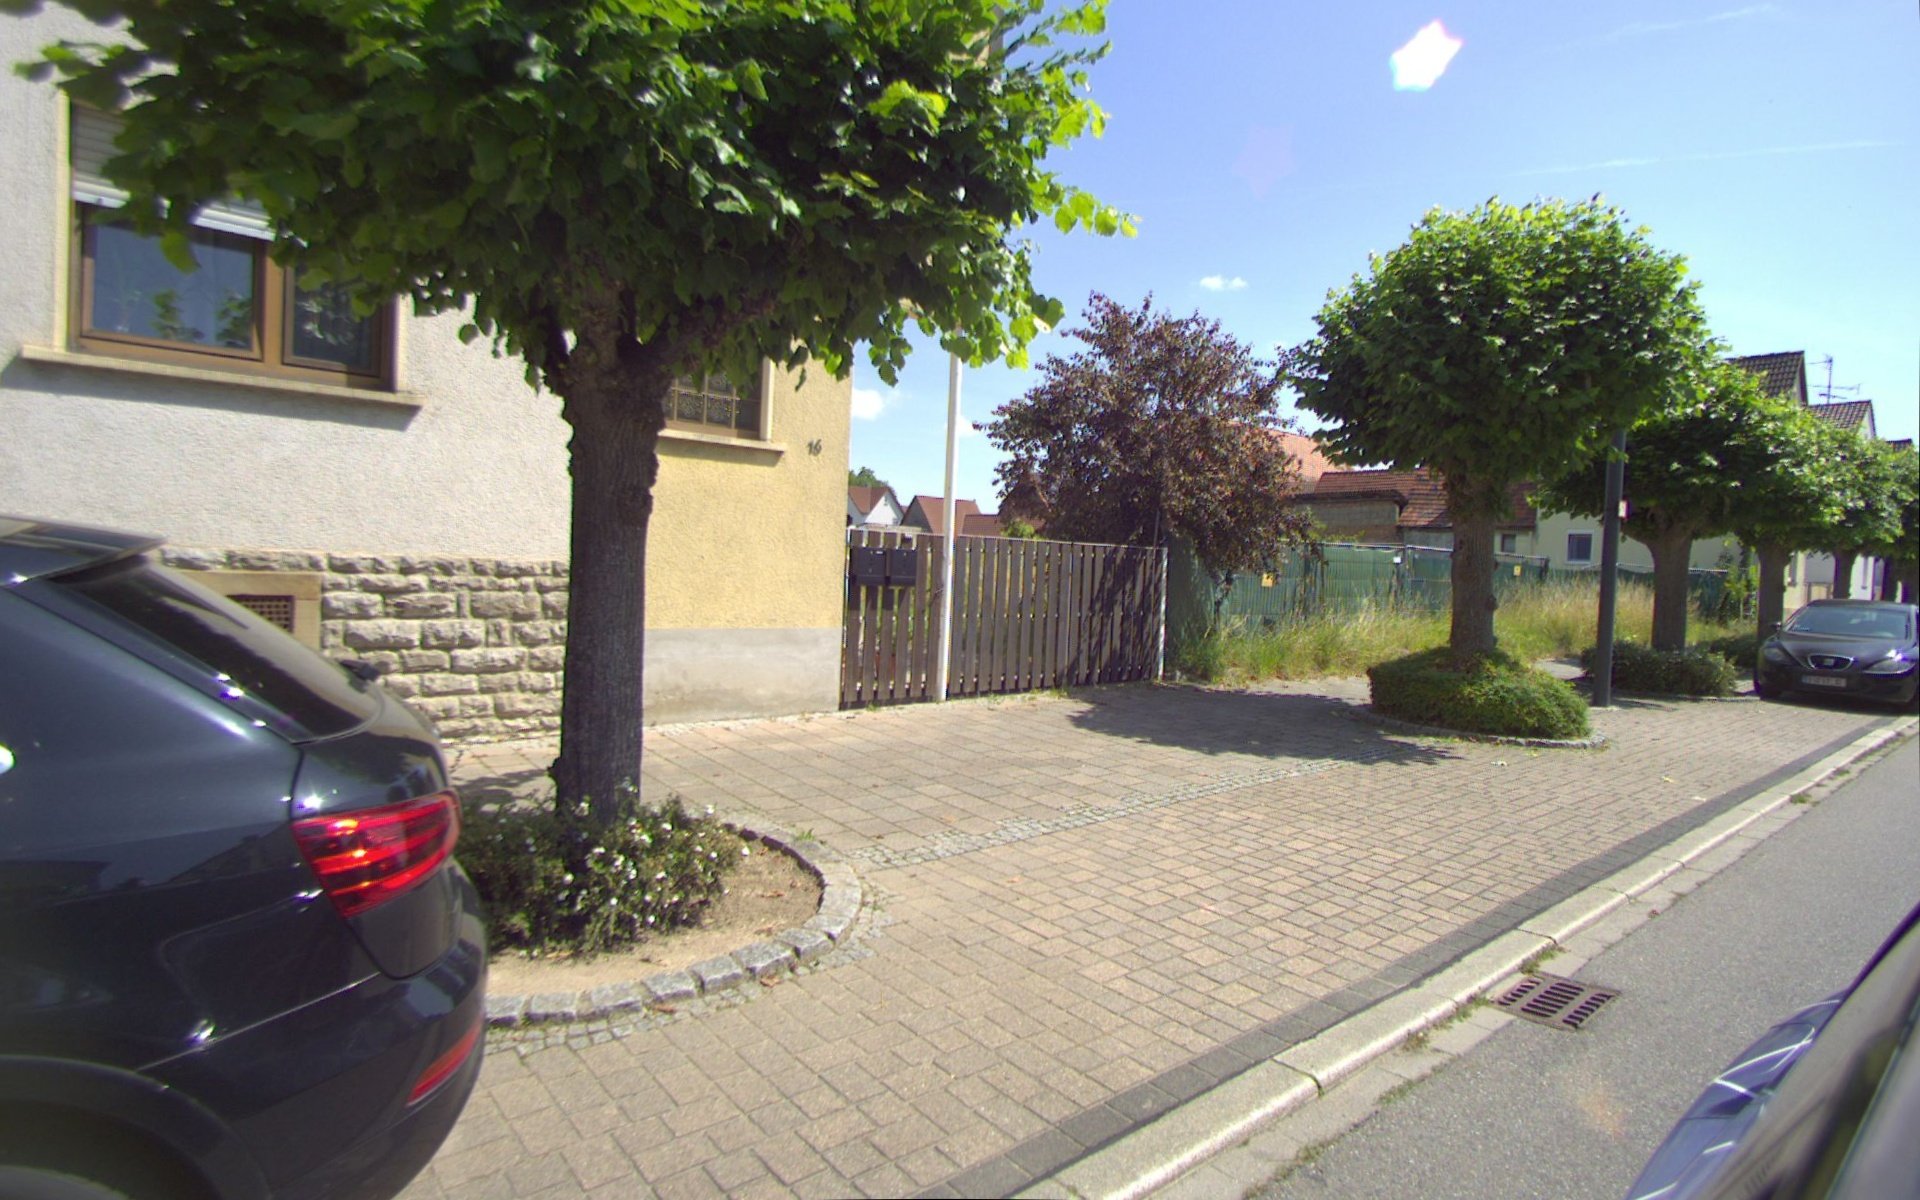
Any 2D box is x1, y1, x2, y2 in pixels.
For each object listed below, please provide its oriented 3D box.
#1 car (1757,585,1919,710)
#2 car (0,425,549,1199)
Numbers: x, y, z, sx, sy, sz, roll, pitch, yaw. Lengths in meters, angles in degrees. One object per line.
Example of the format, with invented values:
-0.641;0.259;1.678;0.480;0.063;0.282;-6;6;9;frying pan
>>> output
13.097;0.599;14.512;3.985;1.449;1.829;0;4;-41;car
-2.864;0.495;1.284;3.981;1.605;1.830;1;3;-37;car
